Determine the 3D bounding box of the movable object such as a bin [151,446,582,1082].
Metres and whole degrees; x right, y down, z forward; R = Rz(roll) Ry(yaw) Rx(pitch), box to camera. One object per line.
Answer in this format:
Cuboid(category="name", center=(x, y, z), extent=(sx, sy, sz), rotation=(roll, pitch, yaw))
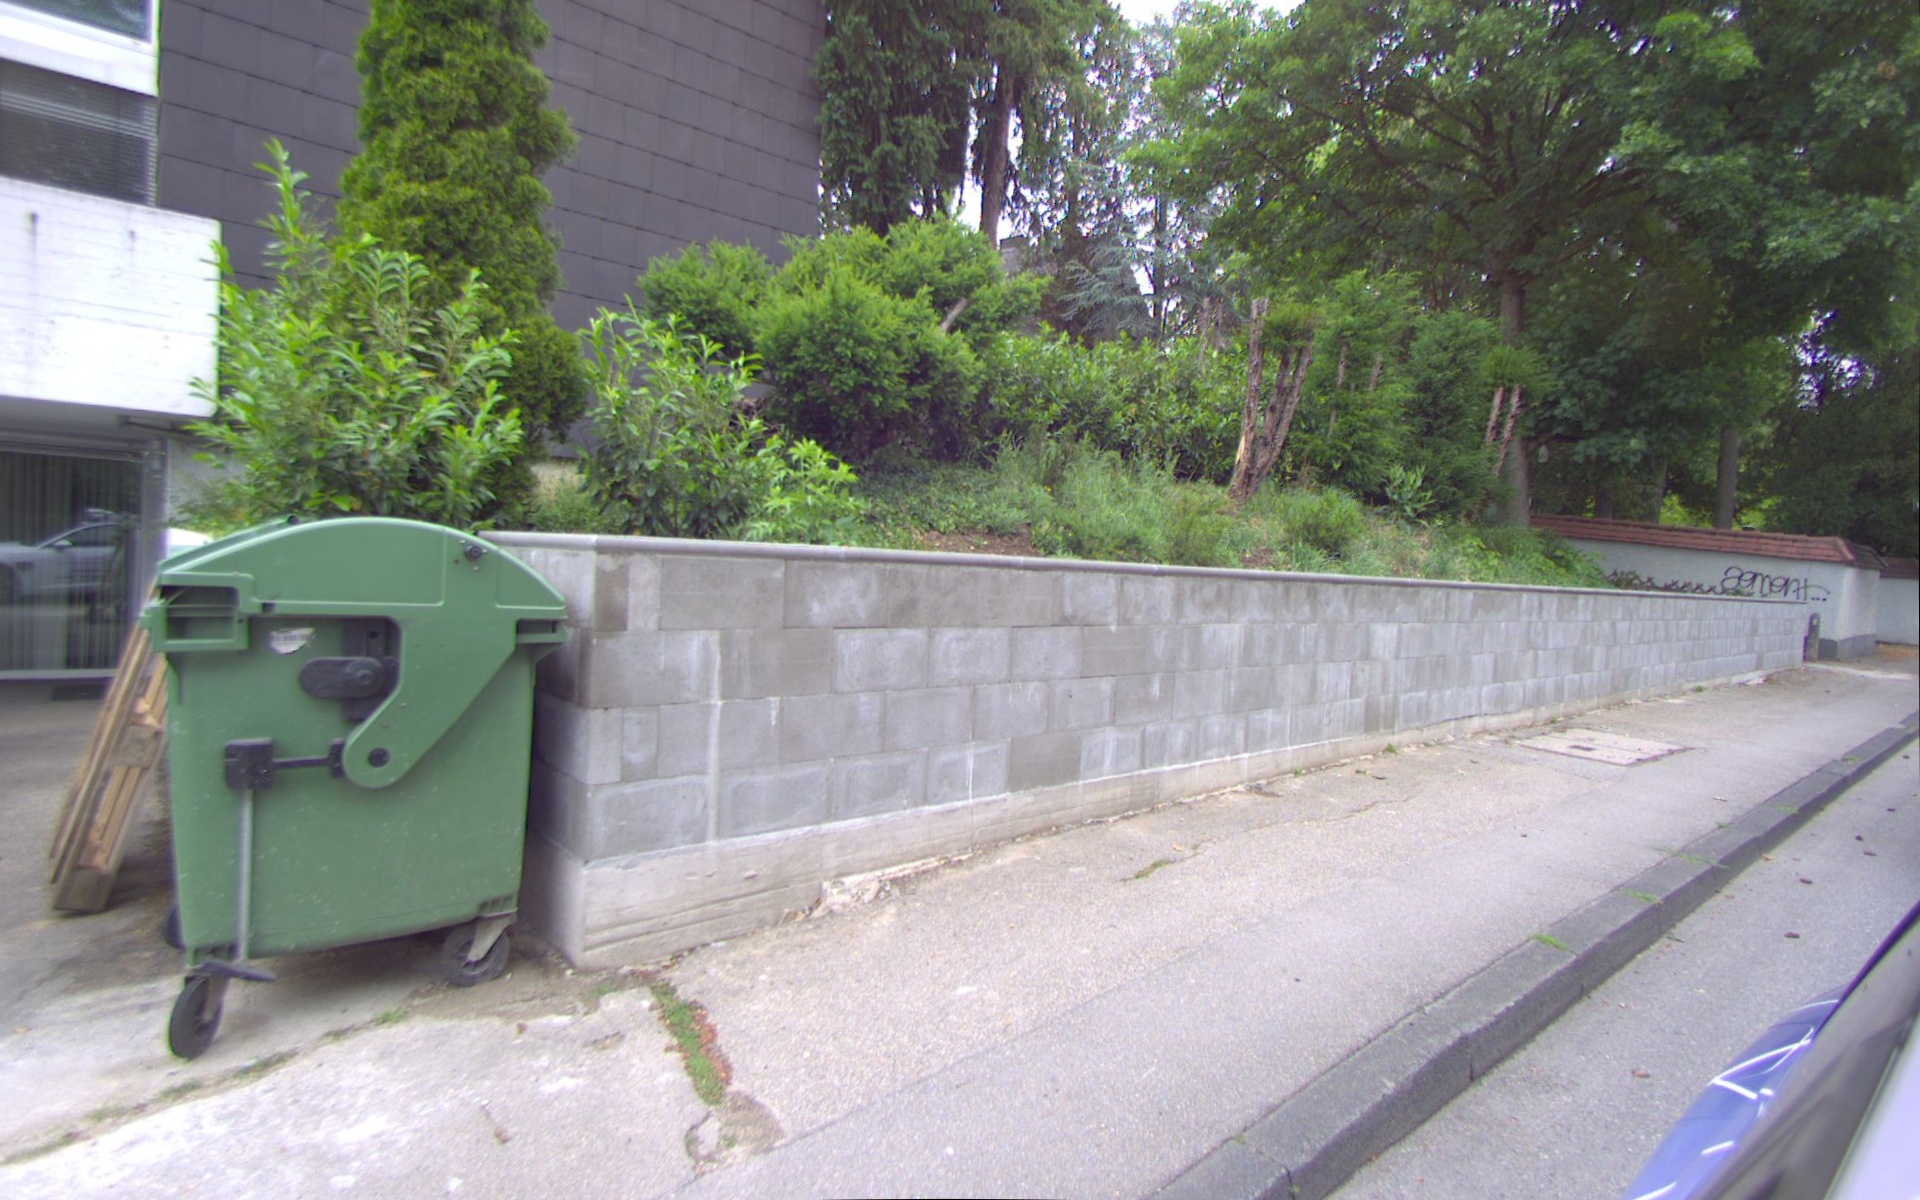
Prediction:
Cuboid(category="movable object such as a bin", center=(-1.883, 0.377, 3.181), extent=(1.014, 1.549, 1.037), rotation=(0, 2, -39))
